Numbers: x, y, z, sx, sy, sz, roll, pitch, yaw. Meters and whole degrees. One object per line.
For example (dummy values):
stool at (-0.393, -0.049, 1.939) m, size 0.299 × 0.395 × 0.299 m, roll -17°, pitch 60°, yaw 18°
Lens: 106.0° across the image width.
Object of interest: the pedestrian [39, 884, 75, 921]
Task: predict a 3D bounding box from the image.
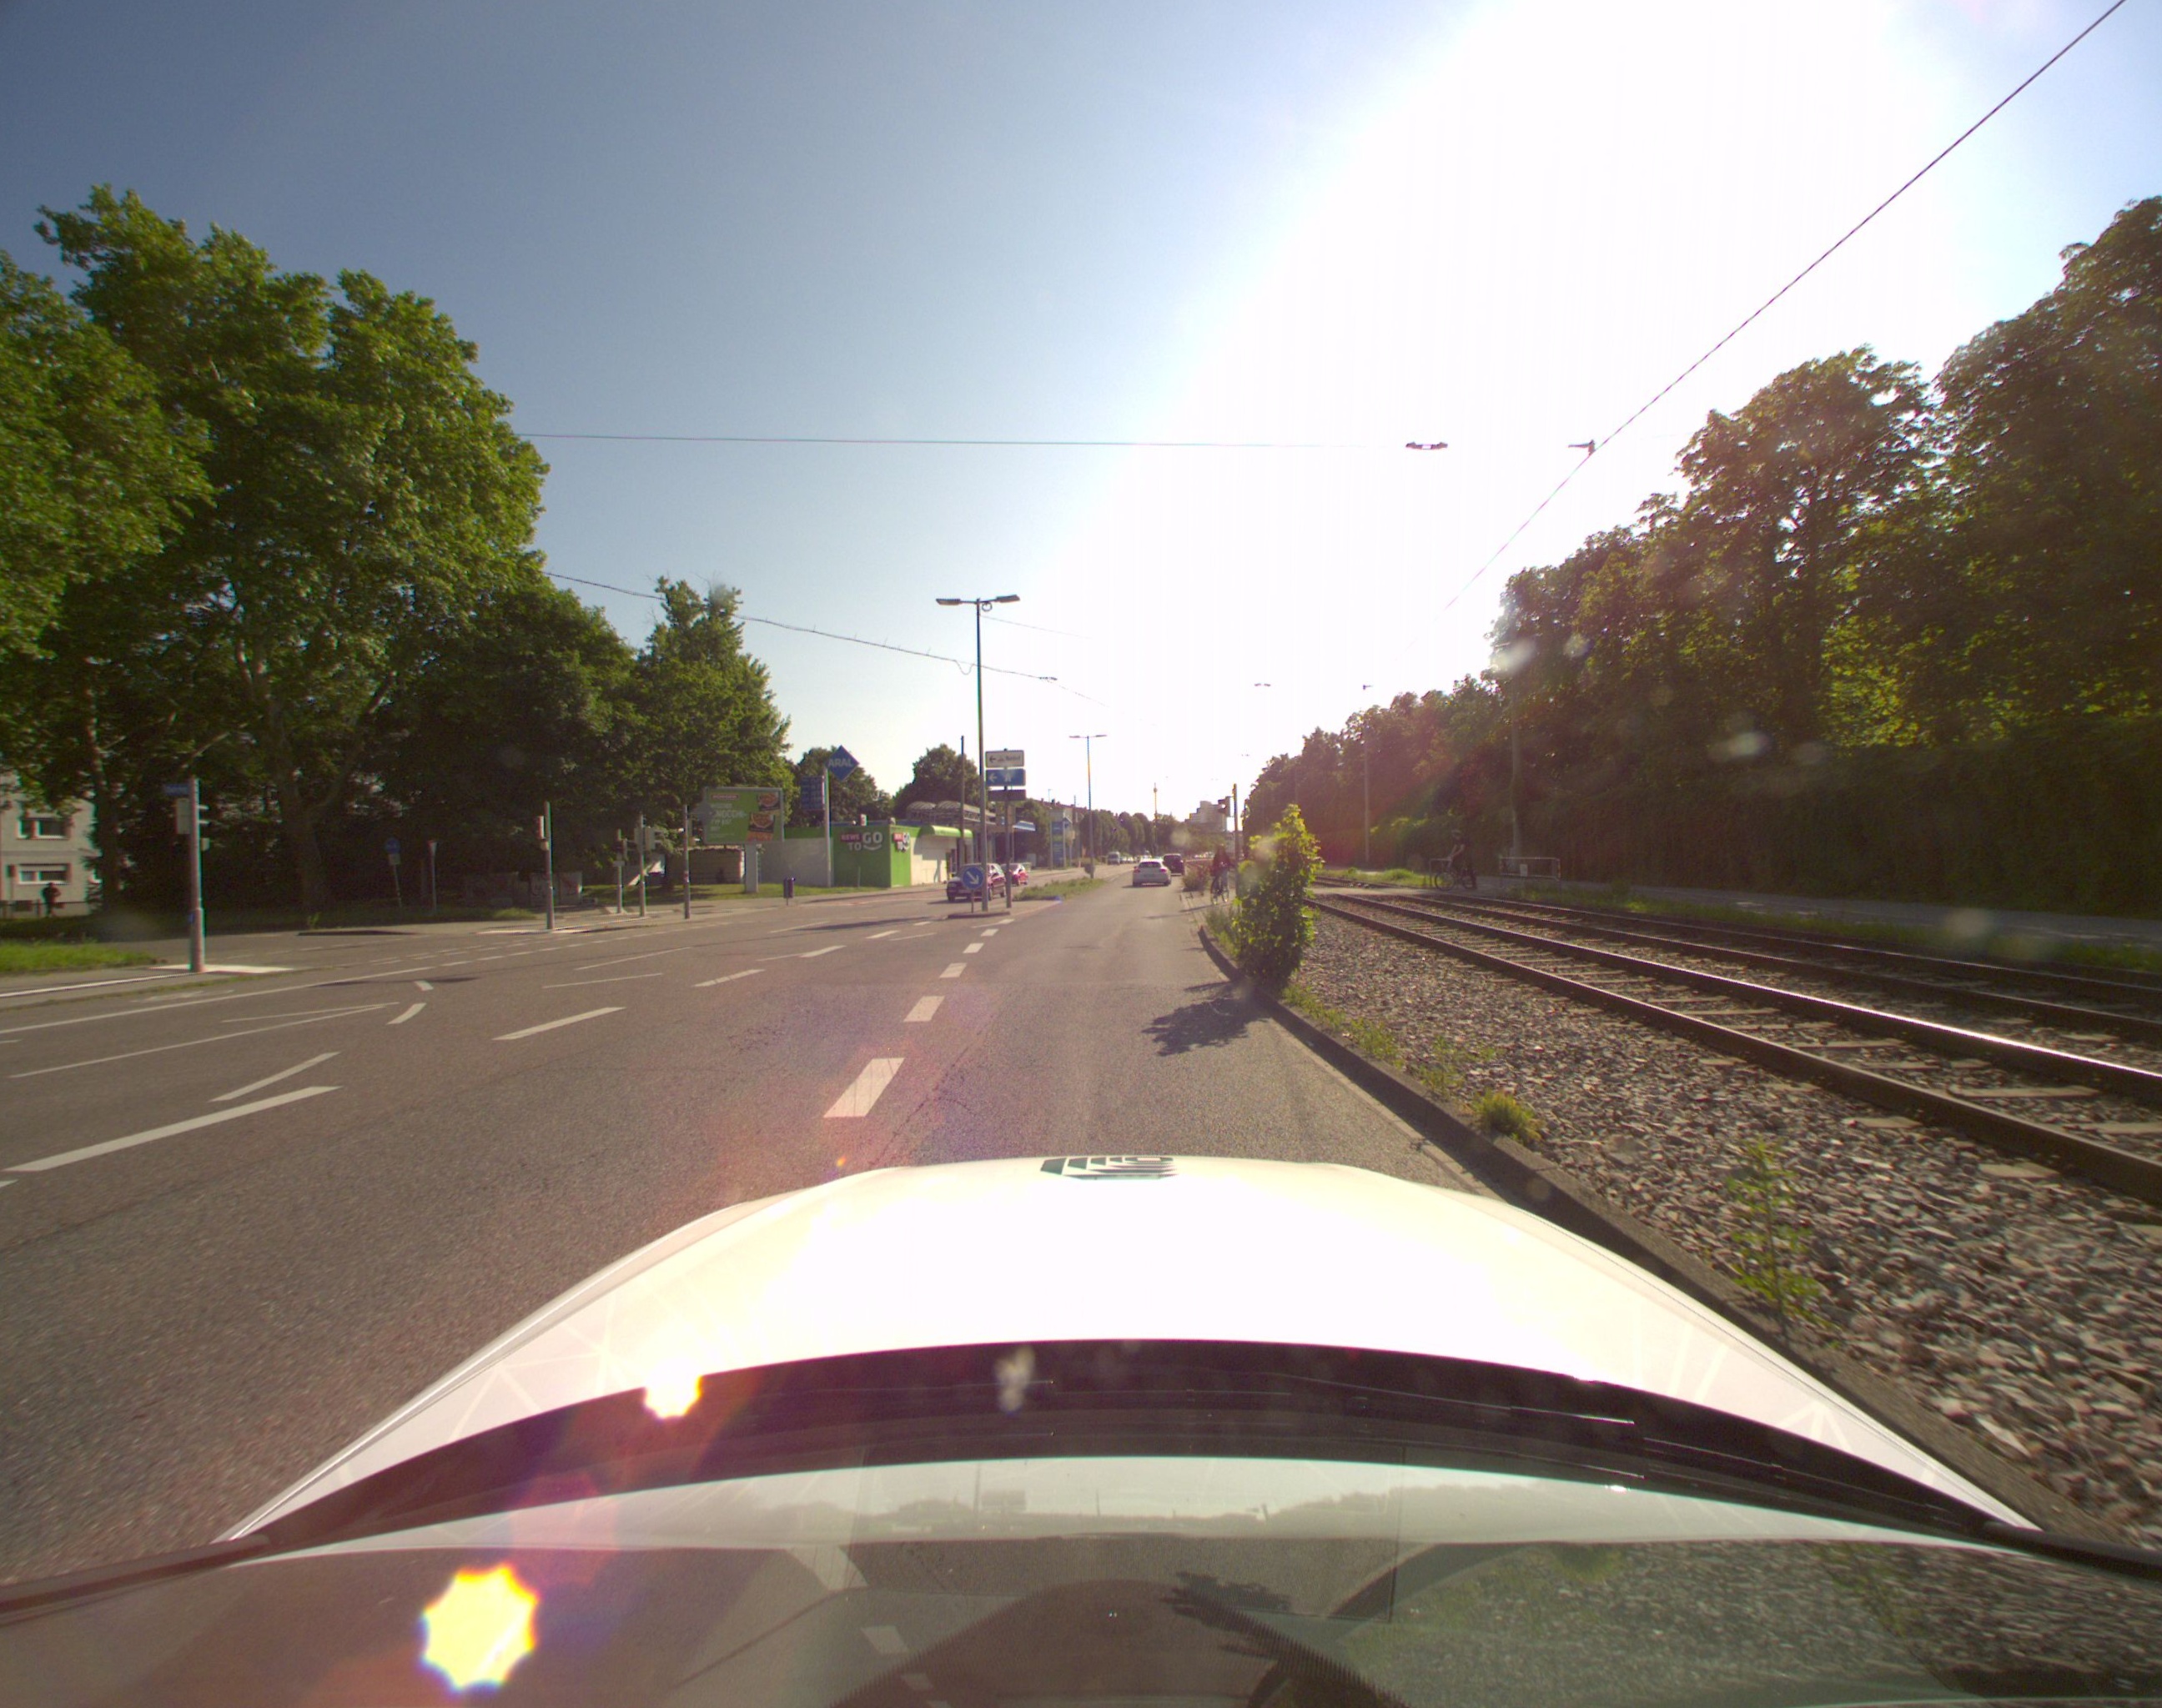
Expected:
pedestrian at (-50.167, 2.365, 39.916) m, size 0.679 × 1.770 × 0.881 m, roll -2°, pitch 0°, yaw 19°

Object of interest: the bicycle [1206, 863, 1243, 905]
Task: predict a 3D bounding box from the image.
bicycle at (4.270, 0.868, 24.186) m, size 0.637 × 1.154 × 1.947 m, roll -2°, pitch 0°, yaw 22°

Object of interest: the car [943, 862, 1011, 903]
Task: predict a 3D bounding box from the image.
car at (-3.984, 1.071, 31.859) m, size 1.644 × 1.395 × 4.141 m, roll -2°, pitch 0°, yaw 6°

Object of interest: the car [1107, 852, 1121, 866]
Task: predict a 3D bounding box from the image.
car at (6.295, 0.931, 154.326) m, size 1.981 × 2.376 × 4.551 m, roll -2°, pitch 0°, yaw 10°

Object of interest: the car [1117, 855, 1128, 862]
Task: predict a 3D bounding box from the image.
car at (8.881, 1.035, 175.397) m, size 1.982 × 1.416 × 3.853 m, roll -2°, pitch 0°, yaw 8°

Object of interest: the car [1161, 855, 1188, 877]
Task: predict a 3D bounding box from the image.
car at (7.032, 0.904, 61.559) m, size 1.717 × 1.593 × 3.603 m, roll 0°, pitch 0°, yaw 2°

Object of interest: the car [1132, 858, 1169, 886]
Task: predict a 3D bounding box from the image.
car at (3.635, 0.898, 42.083) m, size 1.772 × 1.356 × 3.607 m, roll 0°, pitch 0°, yaw 6°

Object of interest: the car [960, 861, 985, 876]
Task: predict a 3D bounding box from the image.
car at (-11.548, 1.516, 86.766) m, size 1.735 × 1.393 × 4.127 m, roll -2°, pitch 0°, yaw 5°

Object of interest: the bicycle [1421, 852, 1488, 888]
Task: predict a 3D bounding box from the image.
bicycle at (12.379, 0.539, 26.994) m, size 1.902 × 1.115 × 0.953 m, roll -2°, pitch 0°, yaw 30°

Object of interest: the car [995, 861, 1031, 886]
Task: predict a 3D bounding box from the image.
car at (-4.216, 1.203, 50.793) m, size 1.565 × 1.417 × 3.340 m, roll -2°, pitch 0°, yaw 7°

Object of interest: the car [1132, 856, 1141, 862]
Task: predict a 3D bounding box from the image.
car at (13.862, 1.181, 203.390) m, size 1.982 × 1.416 × 3.853 m, roll -2°, pitch 0°, yaw 8°

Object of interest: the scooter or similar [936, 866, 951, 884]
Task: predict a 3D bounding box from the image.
scooter or similar at (-9.527, 1.472, 56.518) m, size 0.529 × 1.174 × 1.313 m, roll 3°, pitch 0°, yaw 9°

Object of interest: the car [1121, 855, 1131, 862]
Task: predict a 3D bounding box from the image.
car at (10.013, 1.058, 181.229) m, size 1.982 × 1.416 × 3.853 m, roll -2°, pitch 0°, yaw 8°

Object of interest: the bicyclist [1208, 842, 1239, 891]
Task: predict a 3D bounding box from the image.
bicyclist at (4.221, 0.363, 24.118) m, size 0.637 × 1.416 × 1.018 m, roll -2°, pitch 0°, yaw 22°

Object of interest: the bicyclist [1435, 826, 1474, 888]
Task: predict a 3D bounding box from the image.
bicyclist at (12.382, 0.095, 26.985) m, size 1.023 × 1.993 × 0.953 m, roll -2°, pitch 0°, yaw 30°
